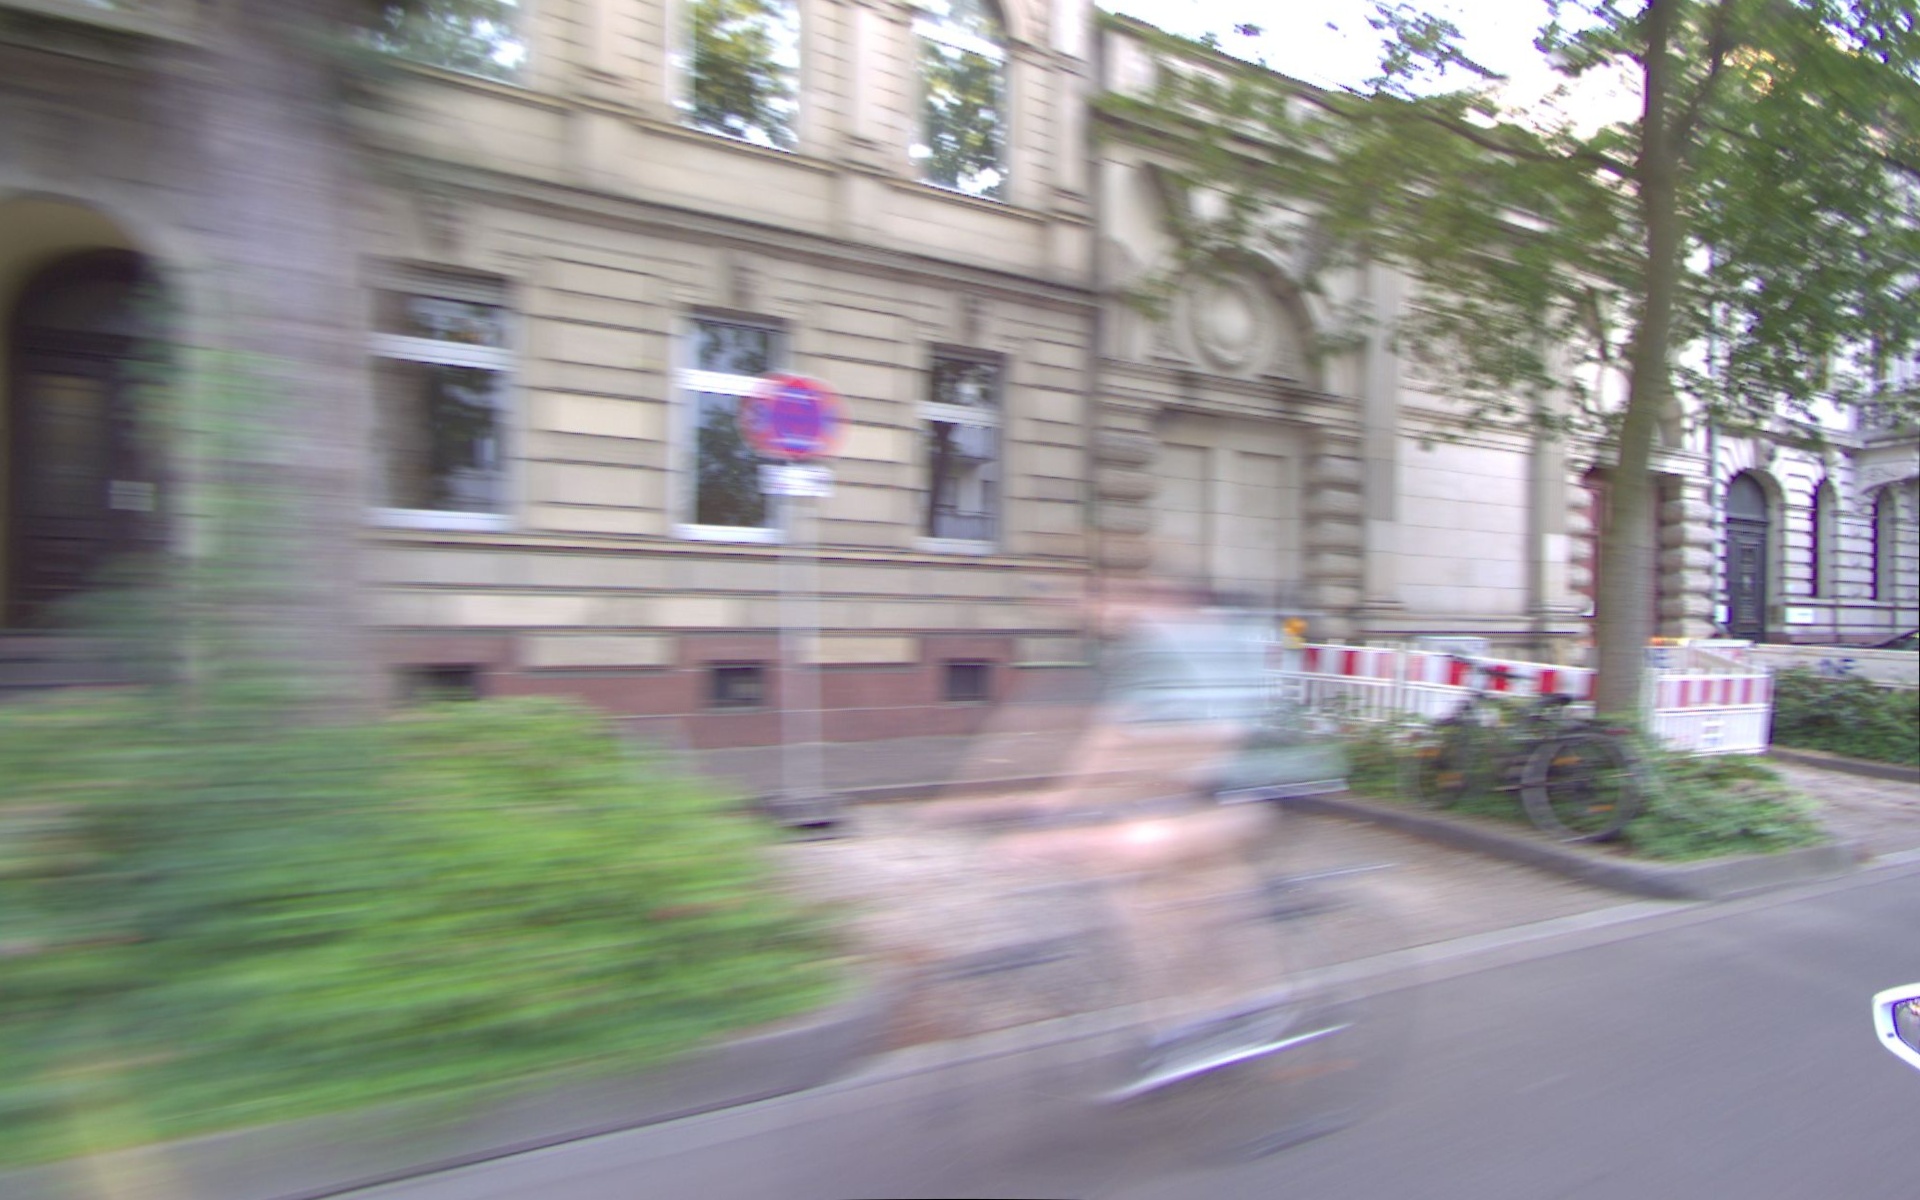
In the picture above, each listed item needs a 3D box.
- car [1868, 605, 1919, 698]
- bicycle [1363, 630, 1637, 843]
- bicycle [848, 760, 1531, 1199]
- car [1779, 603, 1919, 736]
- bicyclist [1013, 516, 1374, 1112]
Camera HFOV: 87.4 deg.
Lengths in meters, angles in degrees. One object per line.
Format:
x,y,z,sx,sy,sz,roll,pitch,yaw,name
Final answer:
16.238,0.888,14.719,1.741,1.406,3.951,0,3,-26,car
3.688,0.868,7.041,0.493,1.248,1.768,2,-1,-21,bicycle
0.639,1.018,2.639,1.736,1.007,0.669,1,-1,-27,bicycle
13.392,0.991,12.948,1.758,1.618,3.950,1,3,-27,car
0.583,0.468,2.613,0.639,1.280,0.670,1,-1,-27,bicyclist
